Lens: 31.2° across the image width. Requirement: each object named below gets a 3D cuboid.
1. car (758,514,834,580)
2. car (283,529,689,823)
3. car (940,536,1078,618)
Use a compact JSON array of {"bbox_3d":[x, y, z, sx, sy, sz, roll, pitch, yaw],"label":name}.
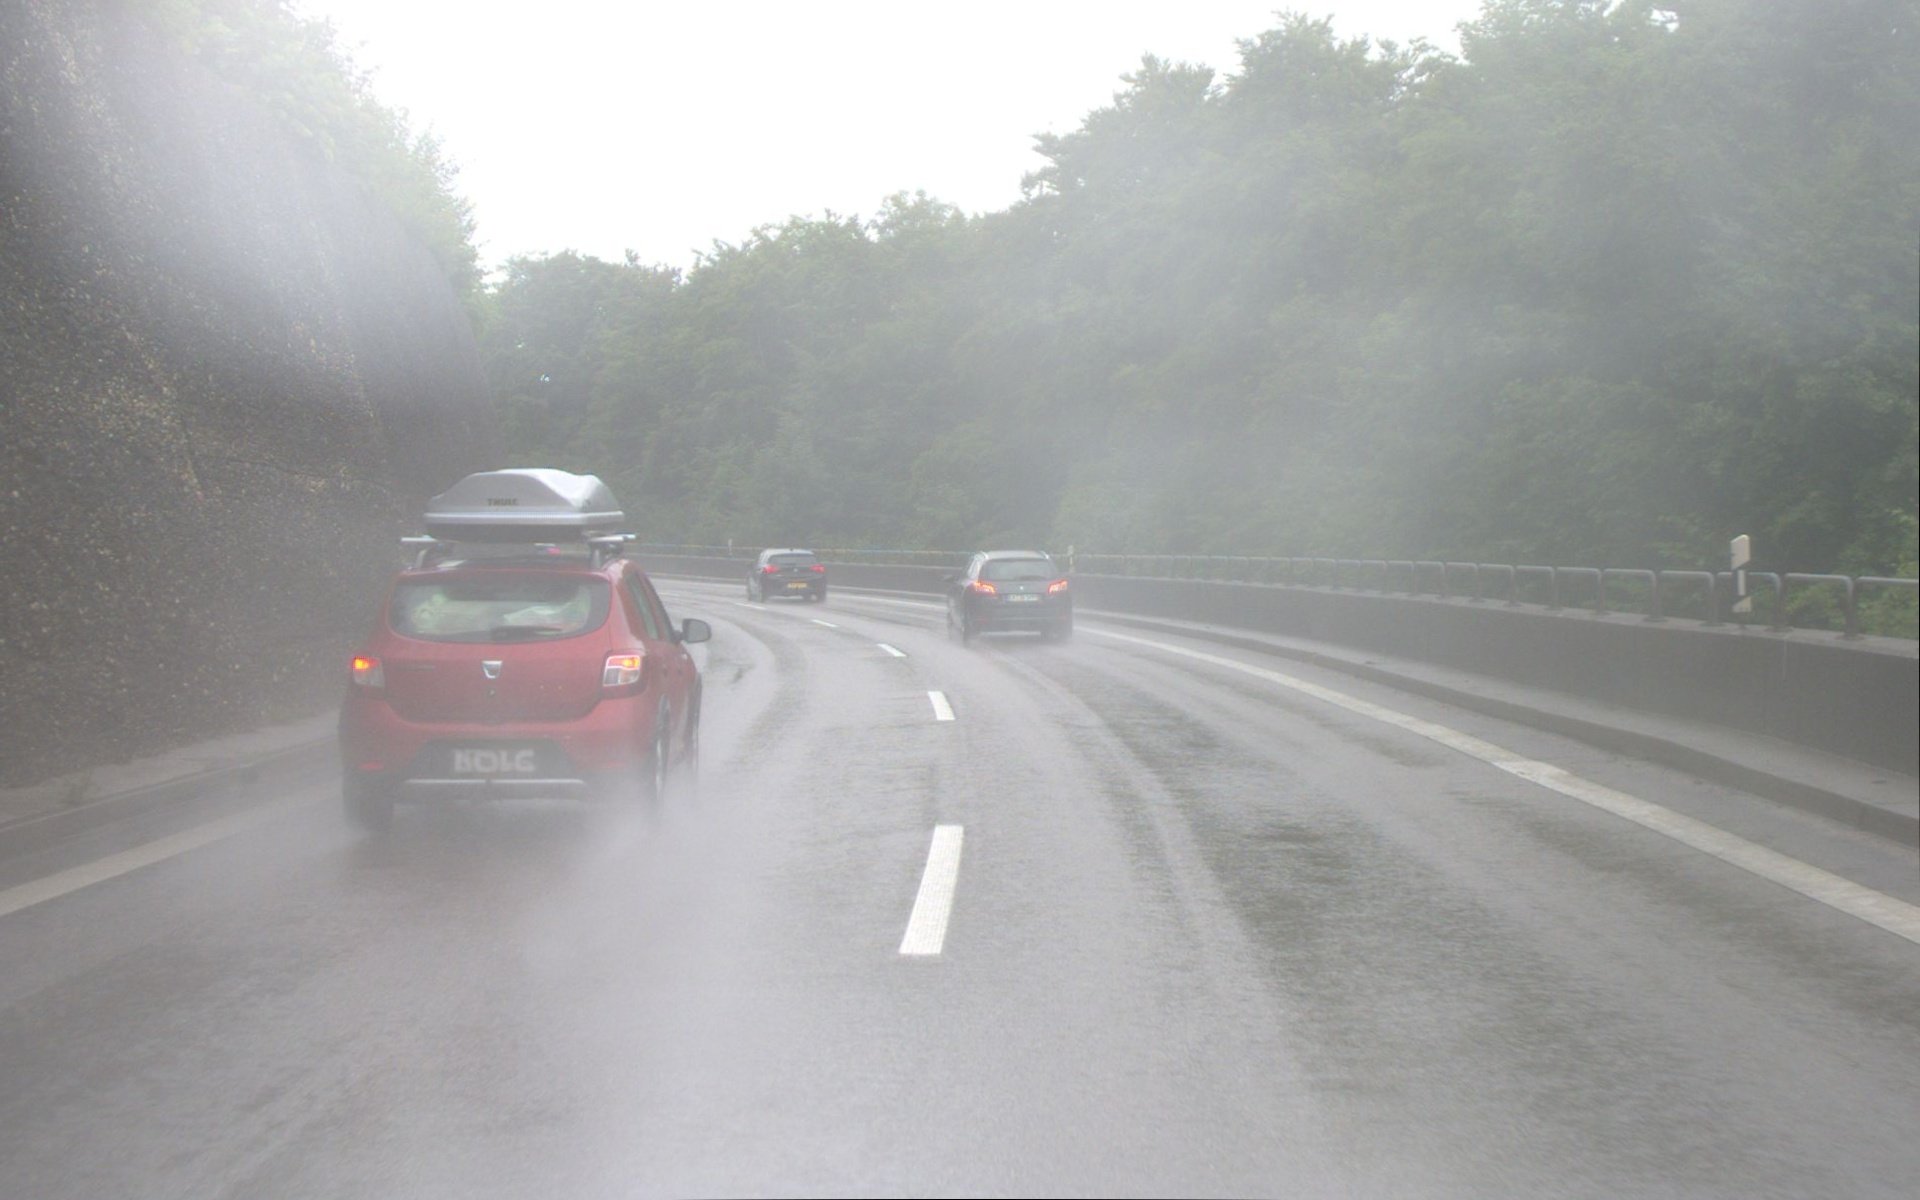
[{"bbox_3d":[-4.480,-1.420,93.461,1.993,1.744,4.001,0,0,-4],"label":"car"},{"bbox_3d":[-2.659,0.369,20.170,1.993,1.546,4.001,0,1,-3],"label":"car"},{"bbox_3d":[0.769,-0.393,56.415,1.800,1.303,4.001,0,1,-6],"label":"car"}]
